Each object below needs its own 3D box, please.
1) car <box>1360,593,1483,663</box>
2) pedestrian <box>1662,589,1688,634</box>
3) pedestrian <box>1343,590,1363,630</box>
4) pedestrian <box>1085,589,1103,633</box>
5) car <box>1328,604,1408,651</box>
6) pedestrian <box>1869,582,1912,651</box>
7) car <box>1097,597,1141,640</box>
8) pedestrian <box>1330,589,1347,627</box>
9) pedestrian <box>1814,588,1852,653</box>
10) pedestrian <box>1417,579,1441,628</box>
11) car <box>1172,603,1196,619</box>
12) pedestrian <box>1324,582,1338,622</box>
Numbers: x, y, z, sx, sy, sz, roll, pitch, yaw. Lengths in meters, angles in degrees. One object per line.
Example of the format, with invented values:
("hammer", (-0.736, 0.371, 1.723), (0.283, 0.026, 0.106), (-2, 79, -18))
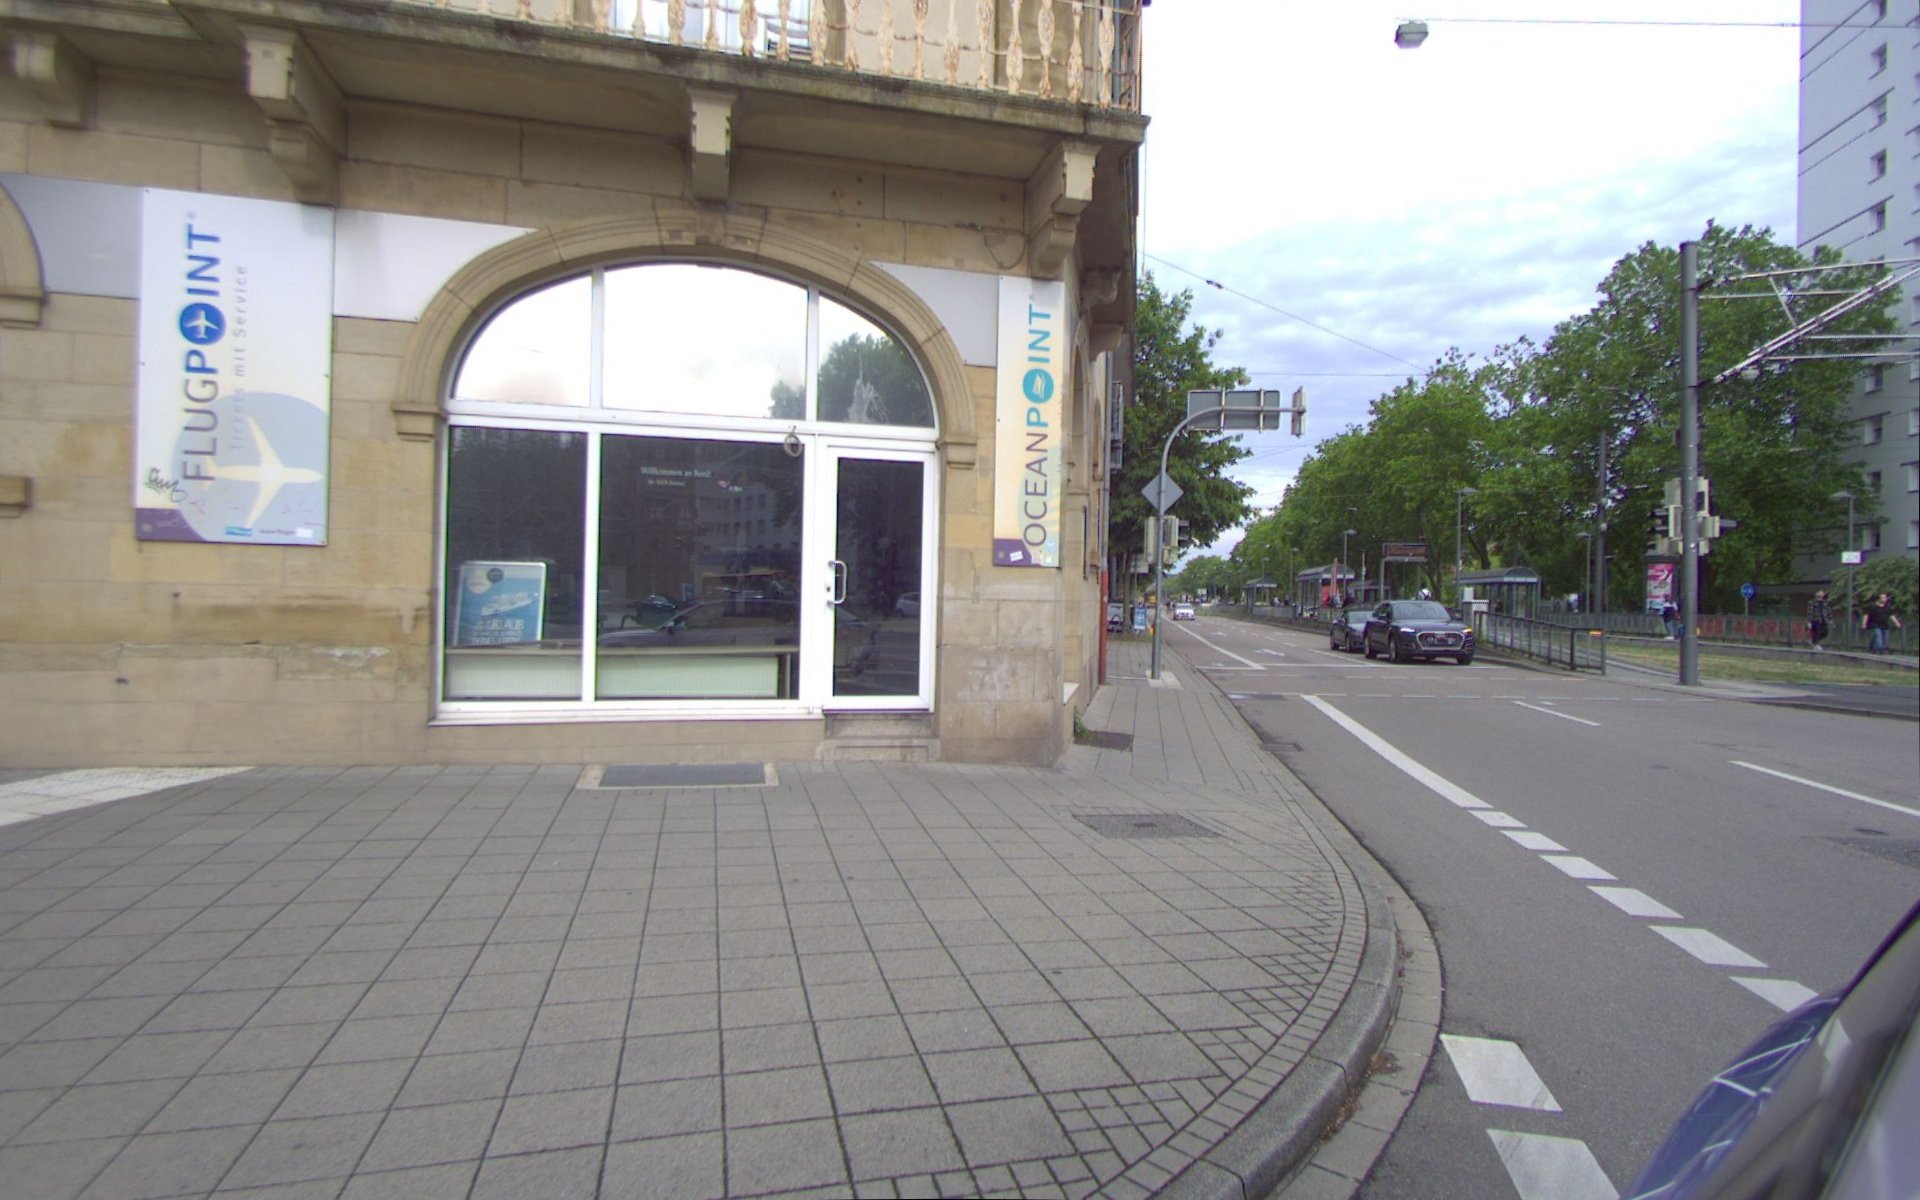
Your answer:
("car", (11.930, 0.660, 26.479), (1.887, 1.668, 4.354), (0, 0, 10))
("pedestrian", (26.624, 0.427, 37.690), (0.613, 1.690, 0.563), (0, 0, 11))
("pedestrian", (17.823, 0.462, 45.919), (0.525, 1.814, 0.662), (0, -1, -39))
("pedestrian", (6.116, 0.494, 46.283), (0.647, 1.958, 0.637), (0, 0, 26))
("car", (13.152, 0.836, 32.797), (1.612, 1.392, 4.001), (0, 0, 10))
("pedestrian", (24.266, 0.432, 26.393), (0.613, 1.773, 0.546), (0, 0, 11))
("car", (6.944, 0.748, 43.901), (1.704, 1.682, 4.091), (3, 1, 10))
("pedestrian", (18.144, 0.383, 48.486), (0.674, 1.814, 0.818), (0, 0, 14))
("pedestrian", (24.691, 0.580, 28.632), (0.613, 1.812, 0.533), (0, 0, 11))
("pedestrian", (17.015, 0.118, 36.737), (0.653, 1.773, 0.533), (0, 0, 11))
("car", (19.979, 0.961, 90.312), (1.837, 1.364, 3.804), (3, 1, 10))
("pedestrian", (19.520, 0.099, 53.260), (0.577, 2.076, 0.818), (0, 0, 14))
